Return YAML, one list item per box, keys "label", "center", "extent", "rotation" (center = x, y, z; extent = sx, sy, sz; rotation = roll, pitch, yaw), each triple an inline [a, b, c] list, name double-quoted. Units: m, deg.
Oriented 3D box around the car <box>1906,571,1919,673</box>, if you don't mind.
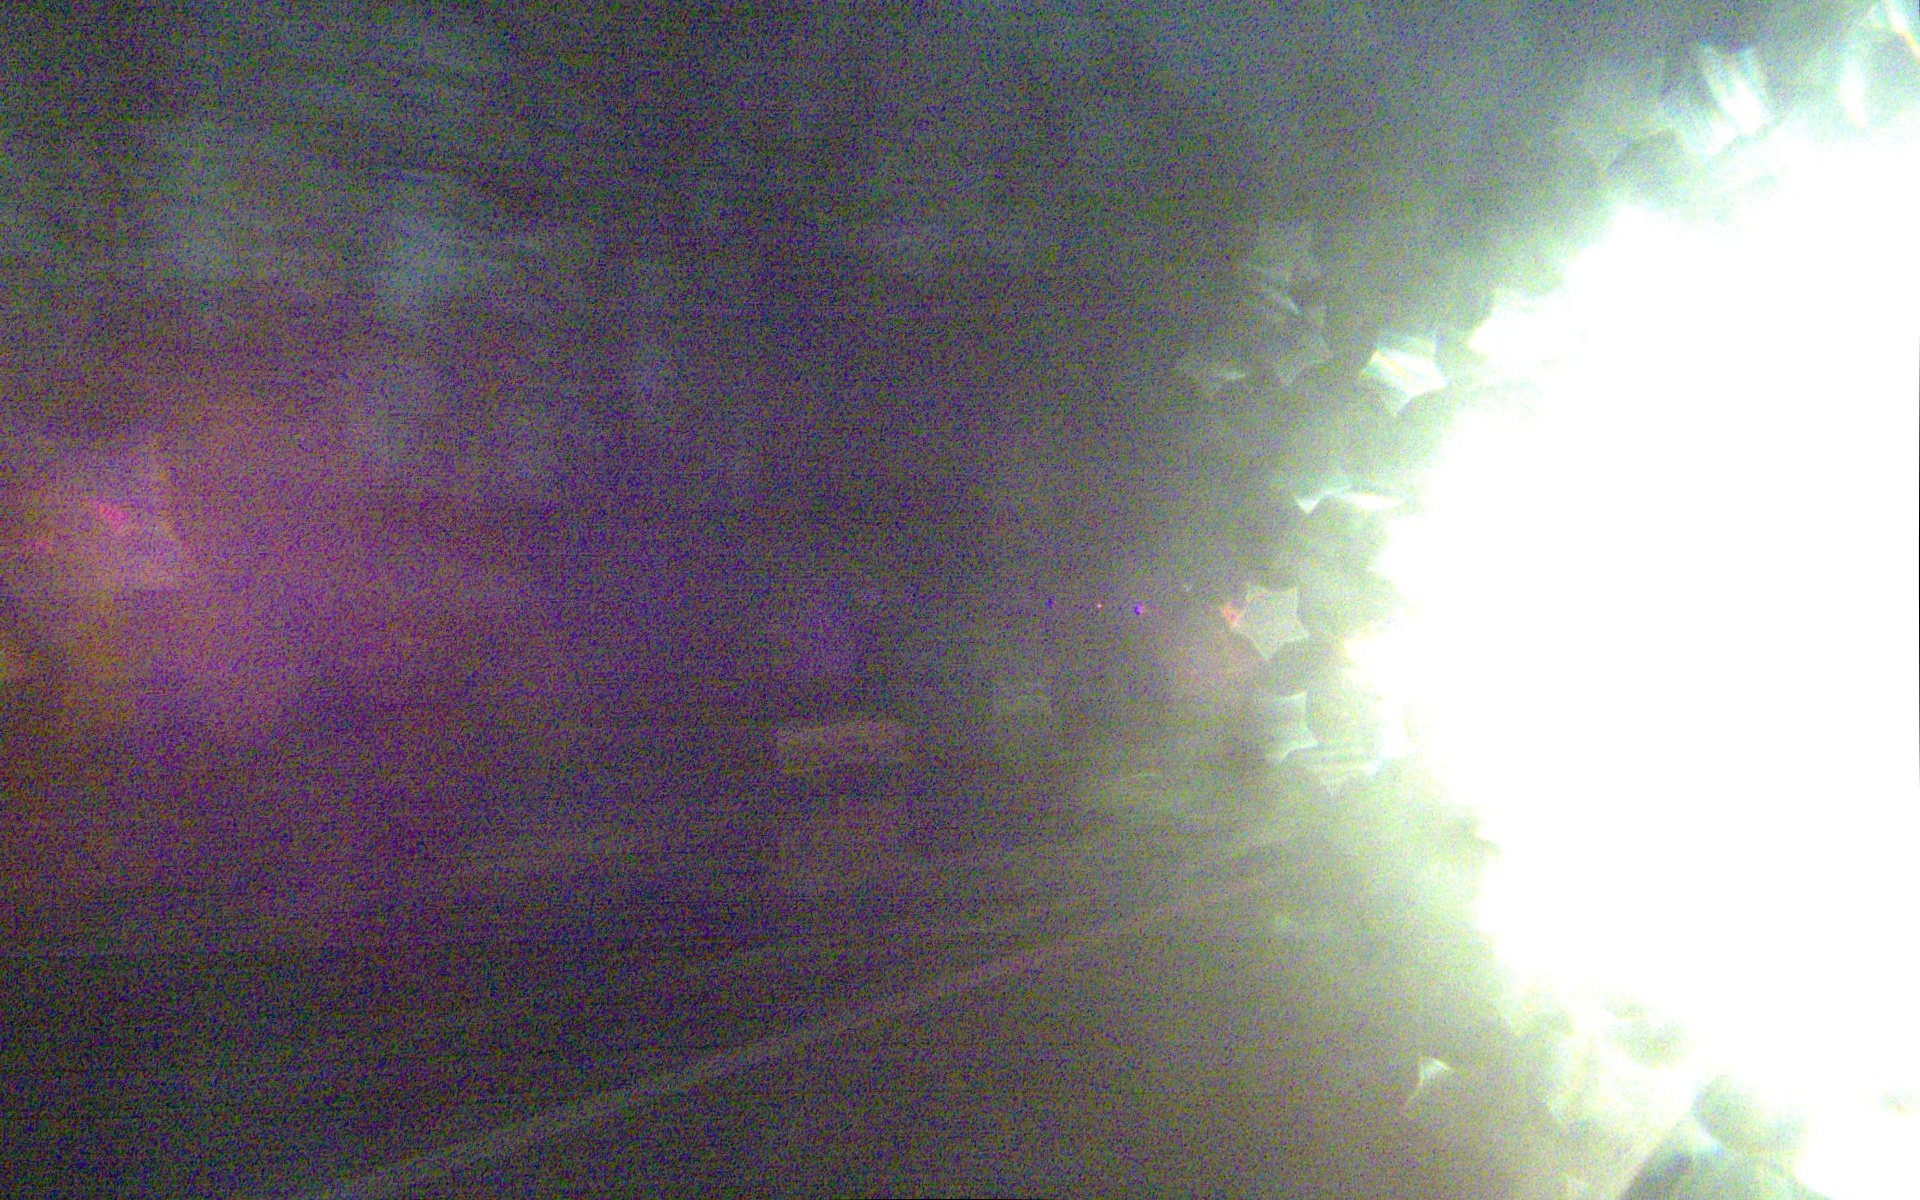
- label: "car"
  center: [22.136, 0.519, 22.181]
  extent: [4.388, 2.131, 1.752]
  rotation: [1, 0, -43]
